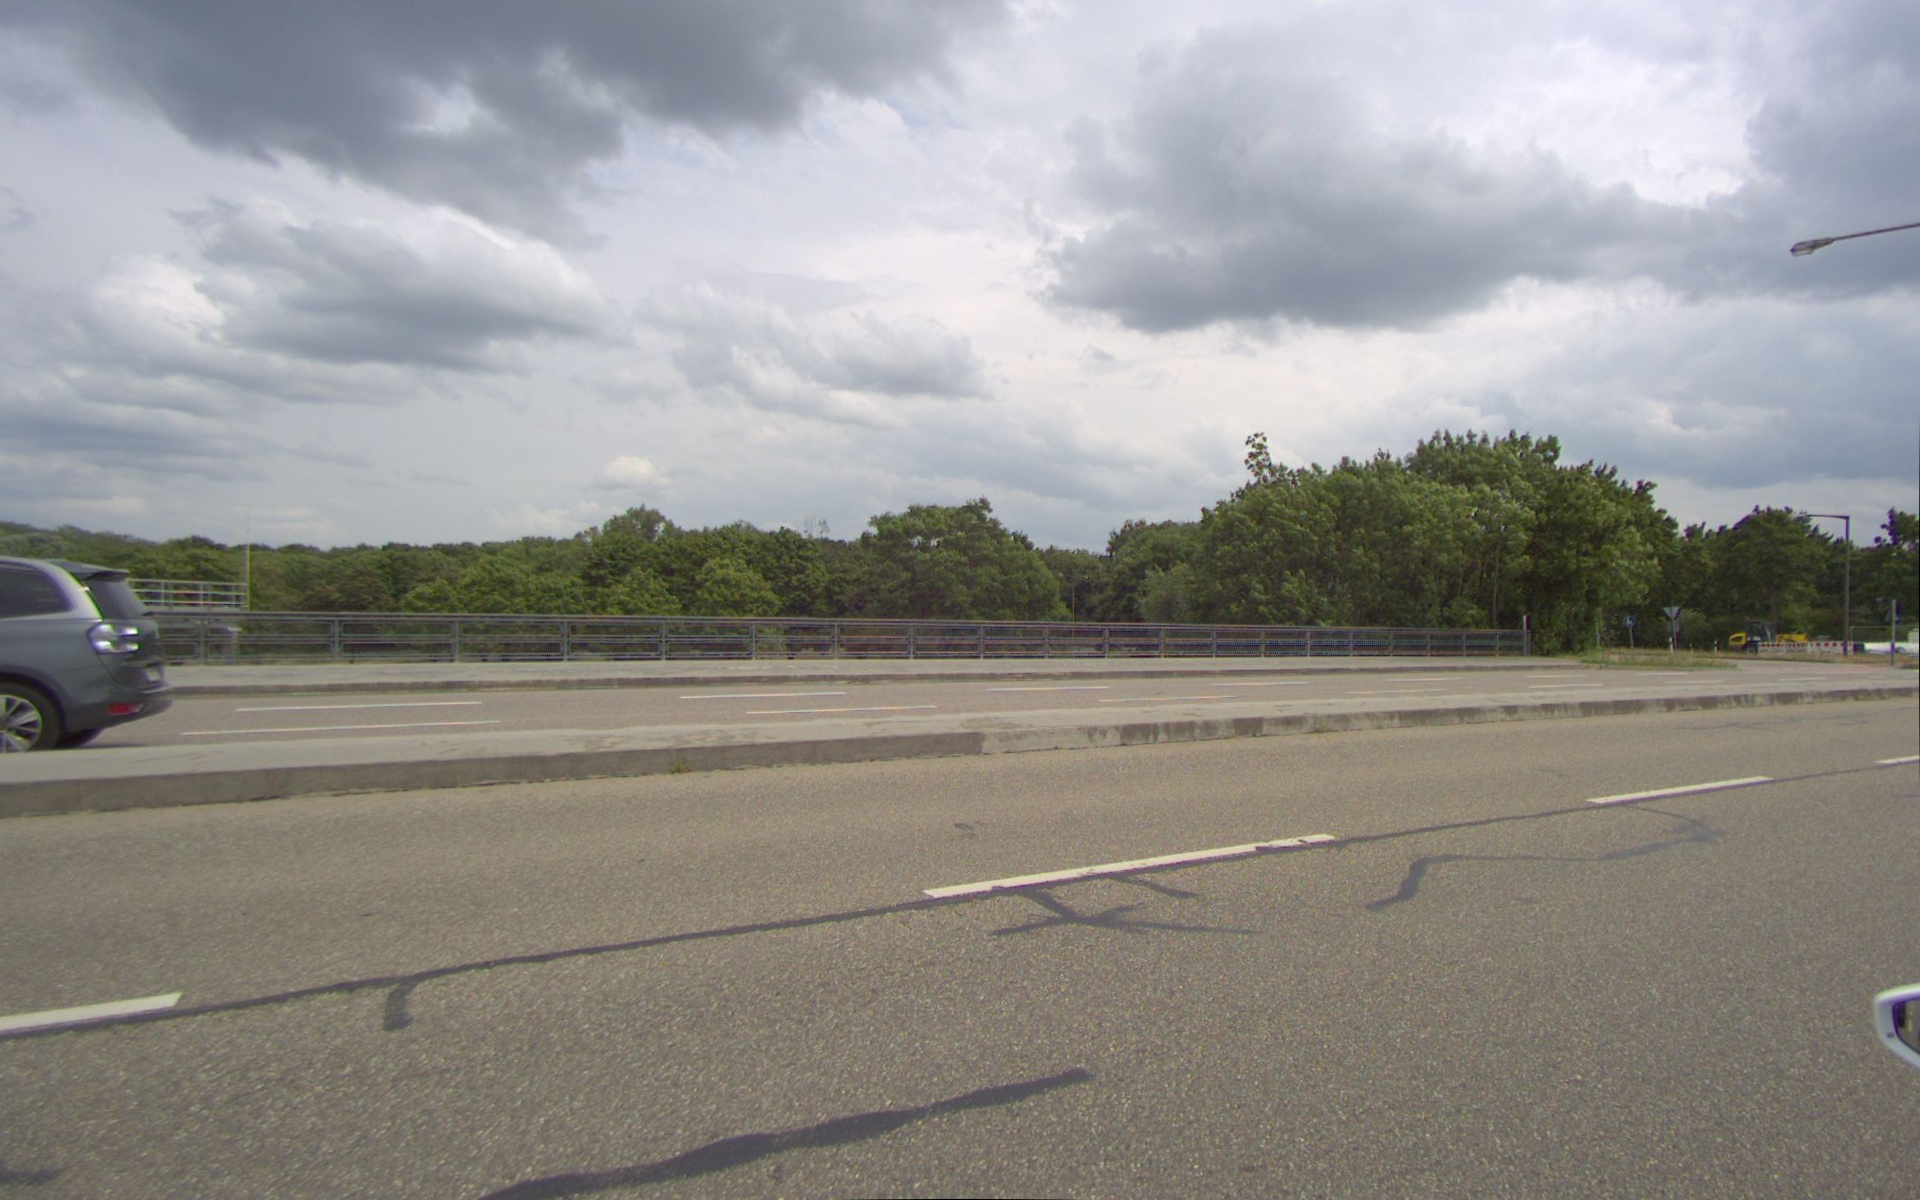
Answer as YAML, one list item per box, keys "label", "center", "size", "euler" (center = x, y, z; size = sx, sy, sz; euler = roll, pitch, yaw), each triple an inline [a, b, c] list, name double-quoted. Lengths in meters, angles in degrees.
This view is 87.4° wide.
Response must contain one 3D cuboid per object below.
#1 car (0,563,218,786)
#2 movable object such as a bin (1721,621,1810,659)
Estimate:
- label: "car"
  center: [-8.694, 0.558, 7.712]
  size: [4.608, 1.662, 1.984]
  euler: [0, -1, -31]
- label: "movable object such as a bin"
  center: [55.705, 2.699, 69.547]
  size: [1.984, 2.429, 4.539]
  euler: [0, 0, -40]
